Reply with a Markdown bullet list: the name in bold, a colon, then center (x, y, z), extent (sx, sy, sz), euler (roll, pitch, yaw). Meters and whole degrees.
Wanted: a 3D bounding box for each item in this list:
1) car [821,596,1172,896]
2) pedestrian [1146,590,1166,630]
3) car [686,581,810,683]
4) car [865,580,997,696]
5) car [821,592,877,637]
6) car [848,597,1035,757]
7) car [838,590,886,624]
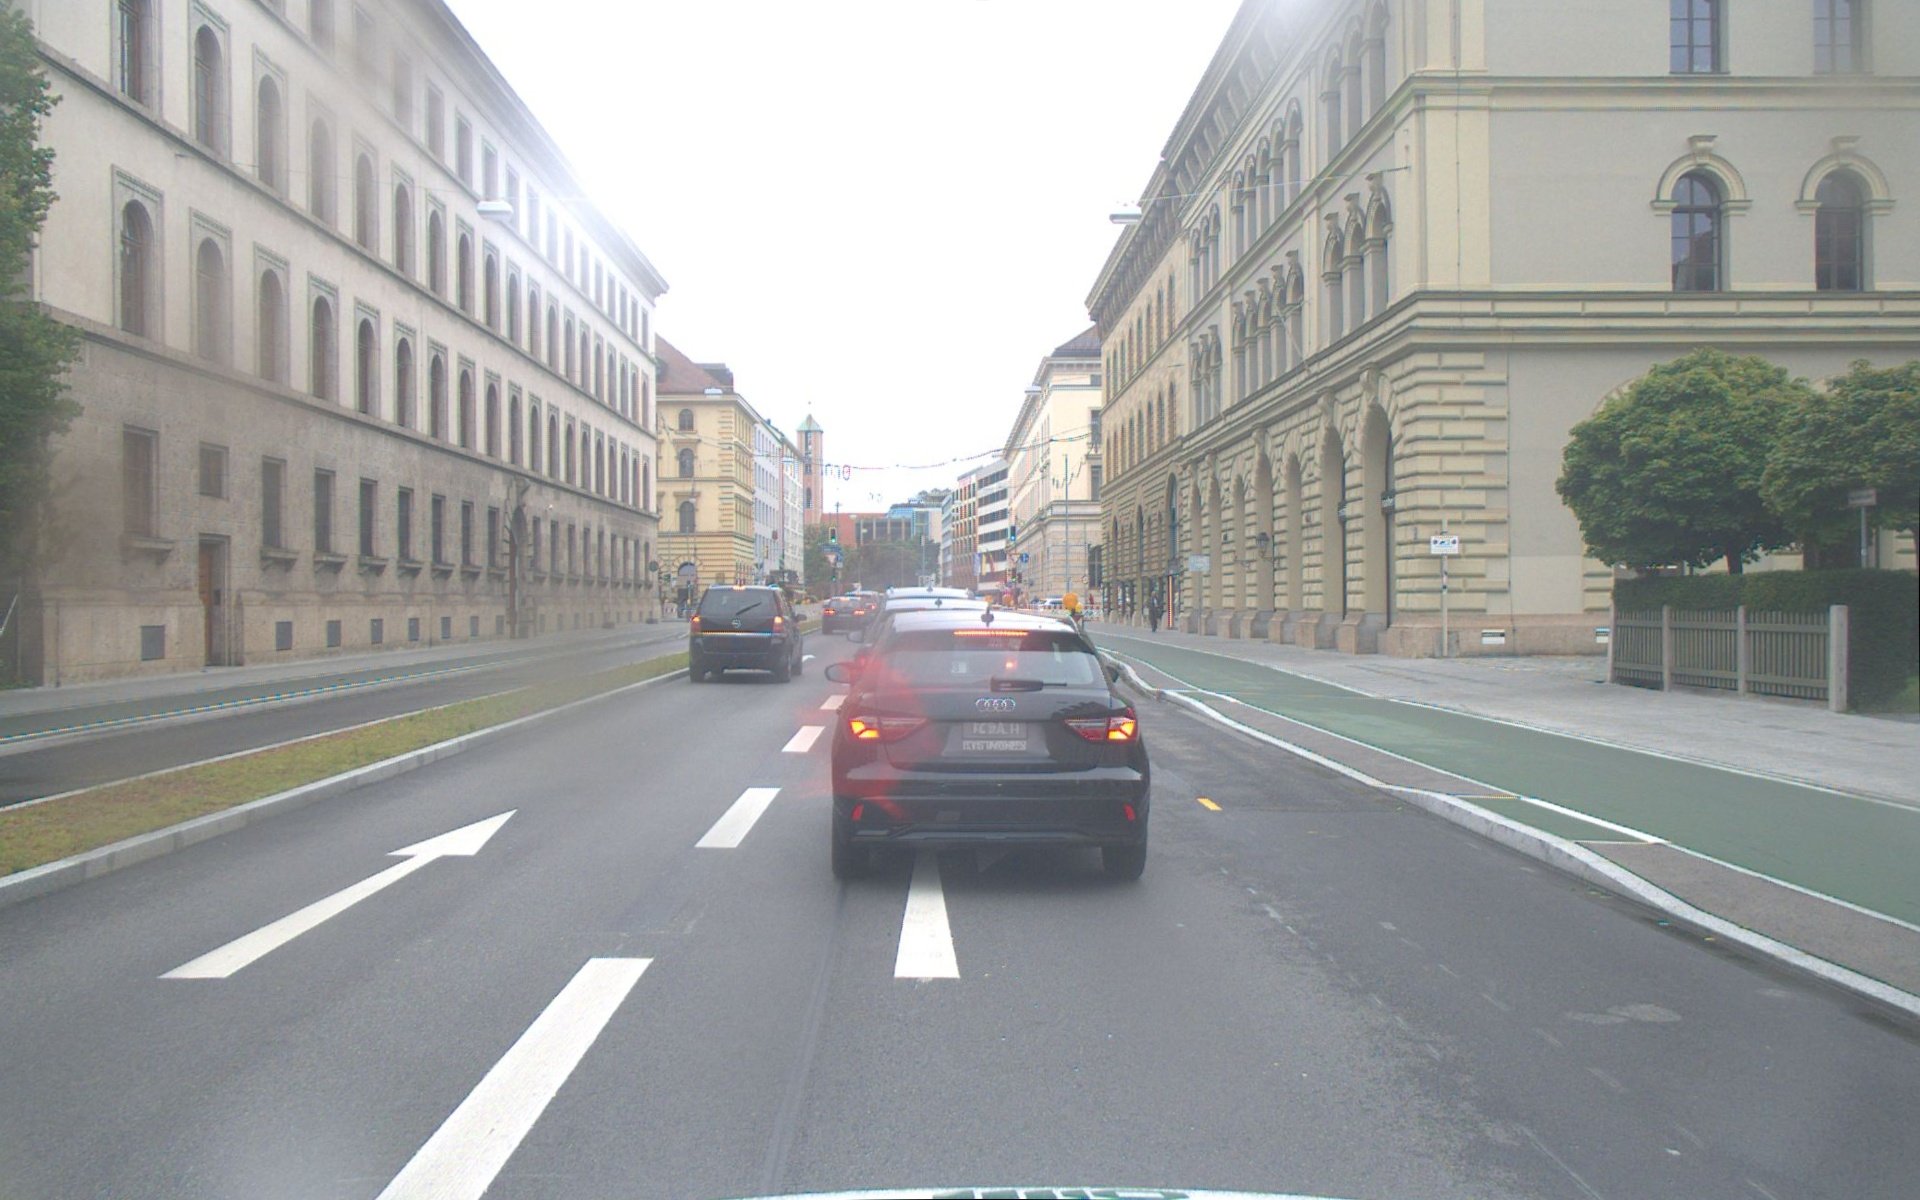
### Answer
- **car**: center (0.139, 0.712, 10.082), extent (1.695, 1.427, 3.999), euler (1, 0, -1)
- **pedestrian**: center (8.081, 0.407, 68.102), extent (0.695, 1.646, 0.754), euler (0, 0, -2)
- **car**: center (-3.665, 0.518, 29.198), extent (1.729, 1.644, 4.029), euler (1, 0, -1)
- **car**: center (-0.424, 0.485, 23.546), extent (1.695, 1.486, 3.999), euler (1, 0, -1)
- **car**: center (-4.276, 0.541, 64.122), extent (1.953, 1.656, 3.999), euler (0, 0, -1)
- **car**: center (-0.210, 0.699, 17.143), extent (1.695, 1.427, 3.999), euler (1, 0, -1)
- **car**: center (-4.309, 0.286, 73.444), extent (1.953, 1.469, 3.999), euler (0, 0, -1)
